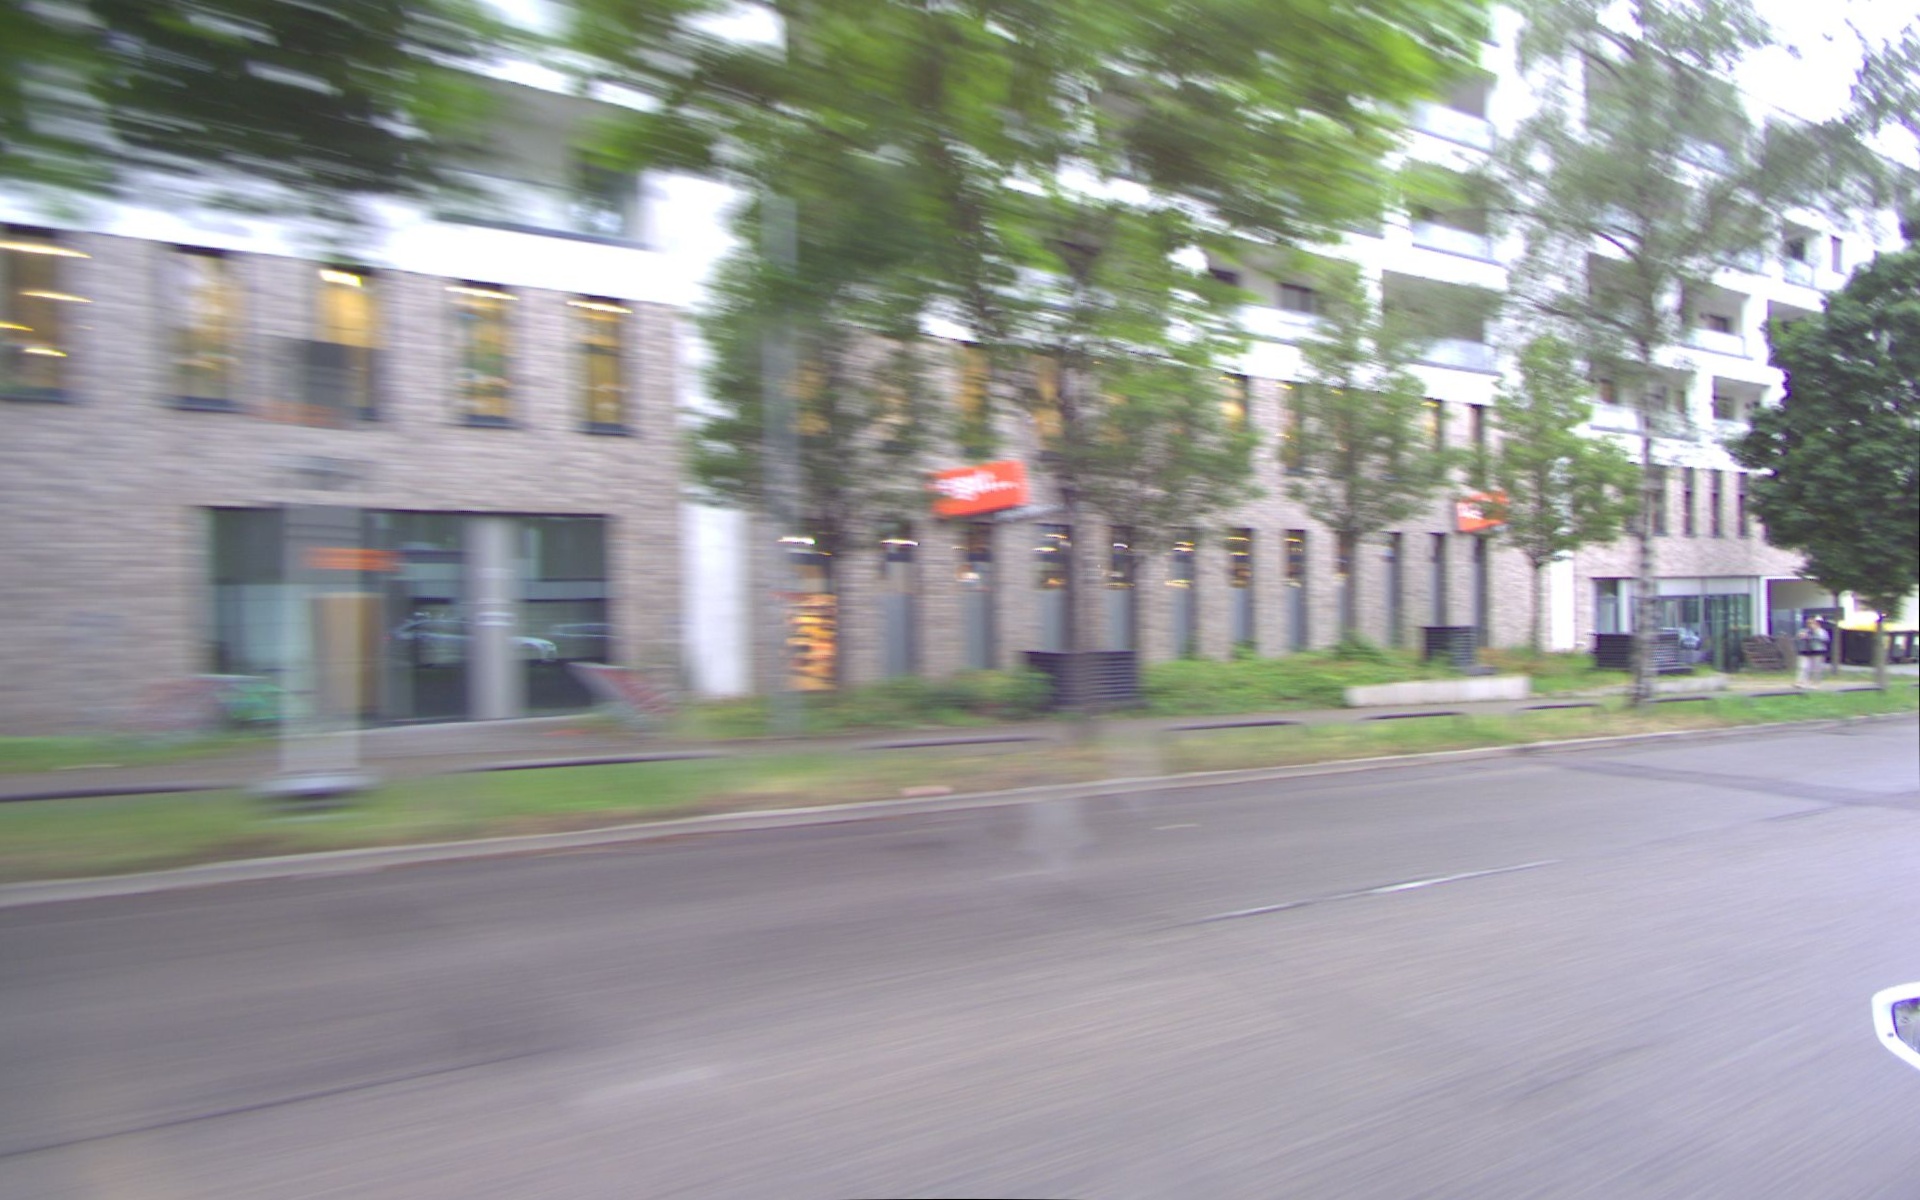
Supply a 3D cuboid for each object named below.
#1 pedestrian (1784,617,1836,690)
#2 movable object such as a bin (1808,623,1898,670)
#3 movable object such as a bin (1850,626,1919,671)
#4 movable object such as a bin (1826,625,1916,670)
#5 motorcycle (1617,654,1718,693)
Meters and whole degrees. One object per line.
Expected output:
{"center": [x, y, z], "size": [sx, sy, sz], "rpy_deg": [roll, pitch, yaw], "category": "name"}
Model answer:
{"center": [20.201, 1.256, 23.861], "size": [0.946, 1.705, 0.704], "rpy_deg": [1, -1, -33], "category": "pedestrian"}
{"center": [30.639, 1.578, 34.490], "size": [1.276, 1.449, 2.015], "rpy_deg": [2, 0, -32], "category": "movable object such as a bin"}
{"center": [33.158, 1.731, 35.817], "size": [1.465, 1.530, 1.786], "rpy_deg": [2, -3, -32], "category": "movable object such as a bin"}
{"center": [31.847, 1.647, 35.145], "size": [1.302, 1.442, 2.043], "rpy_deg": [2, 0, -32], "category": "movable object such as a bin"}
{"center": [16.610, 1.711, 23.644], "size": [0.705, 0.818, 2.006], "rpy_deg": [1, -1, -11], "category": "motorcycle"}
